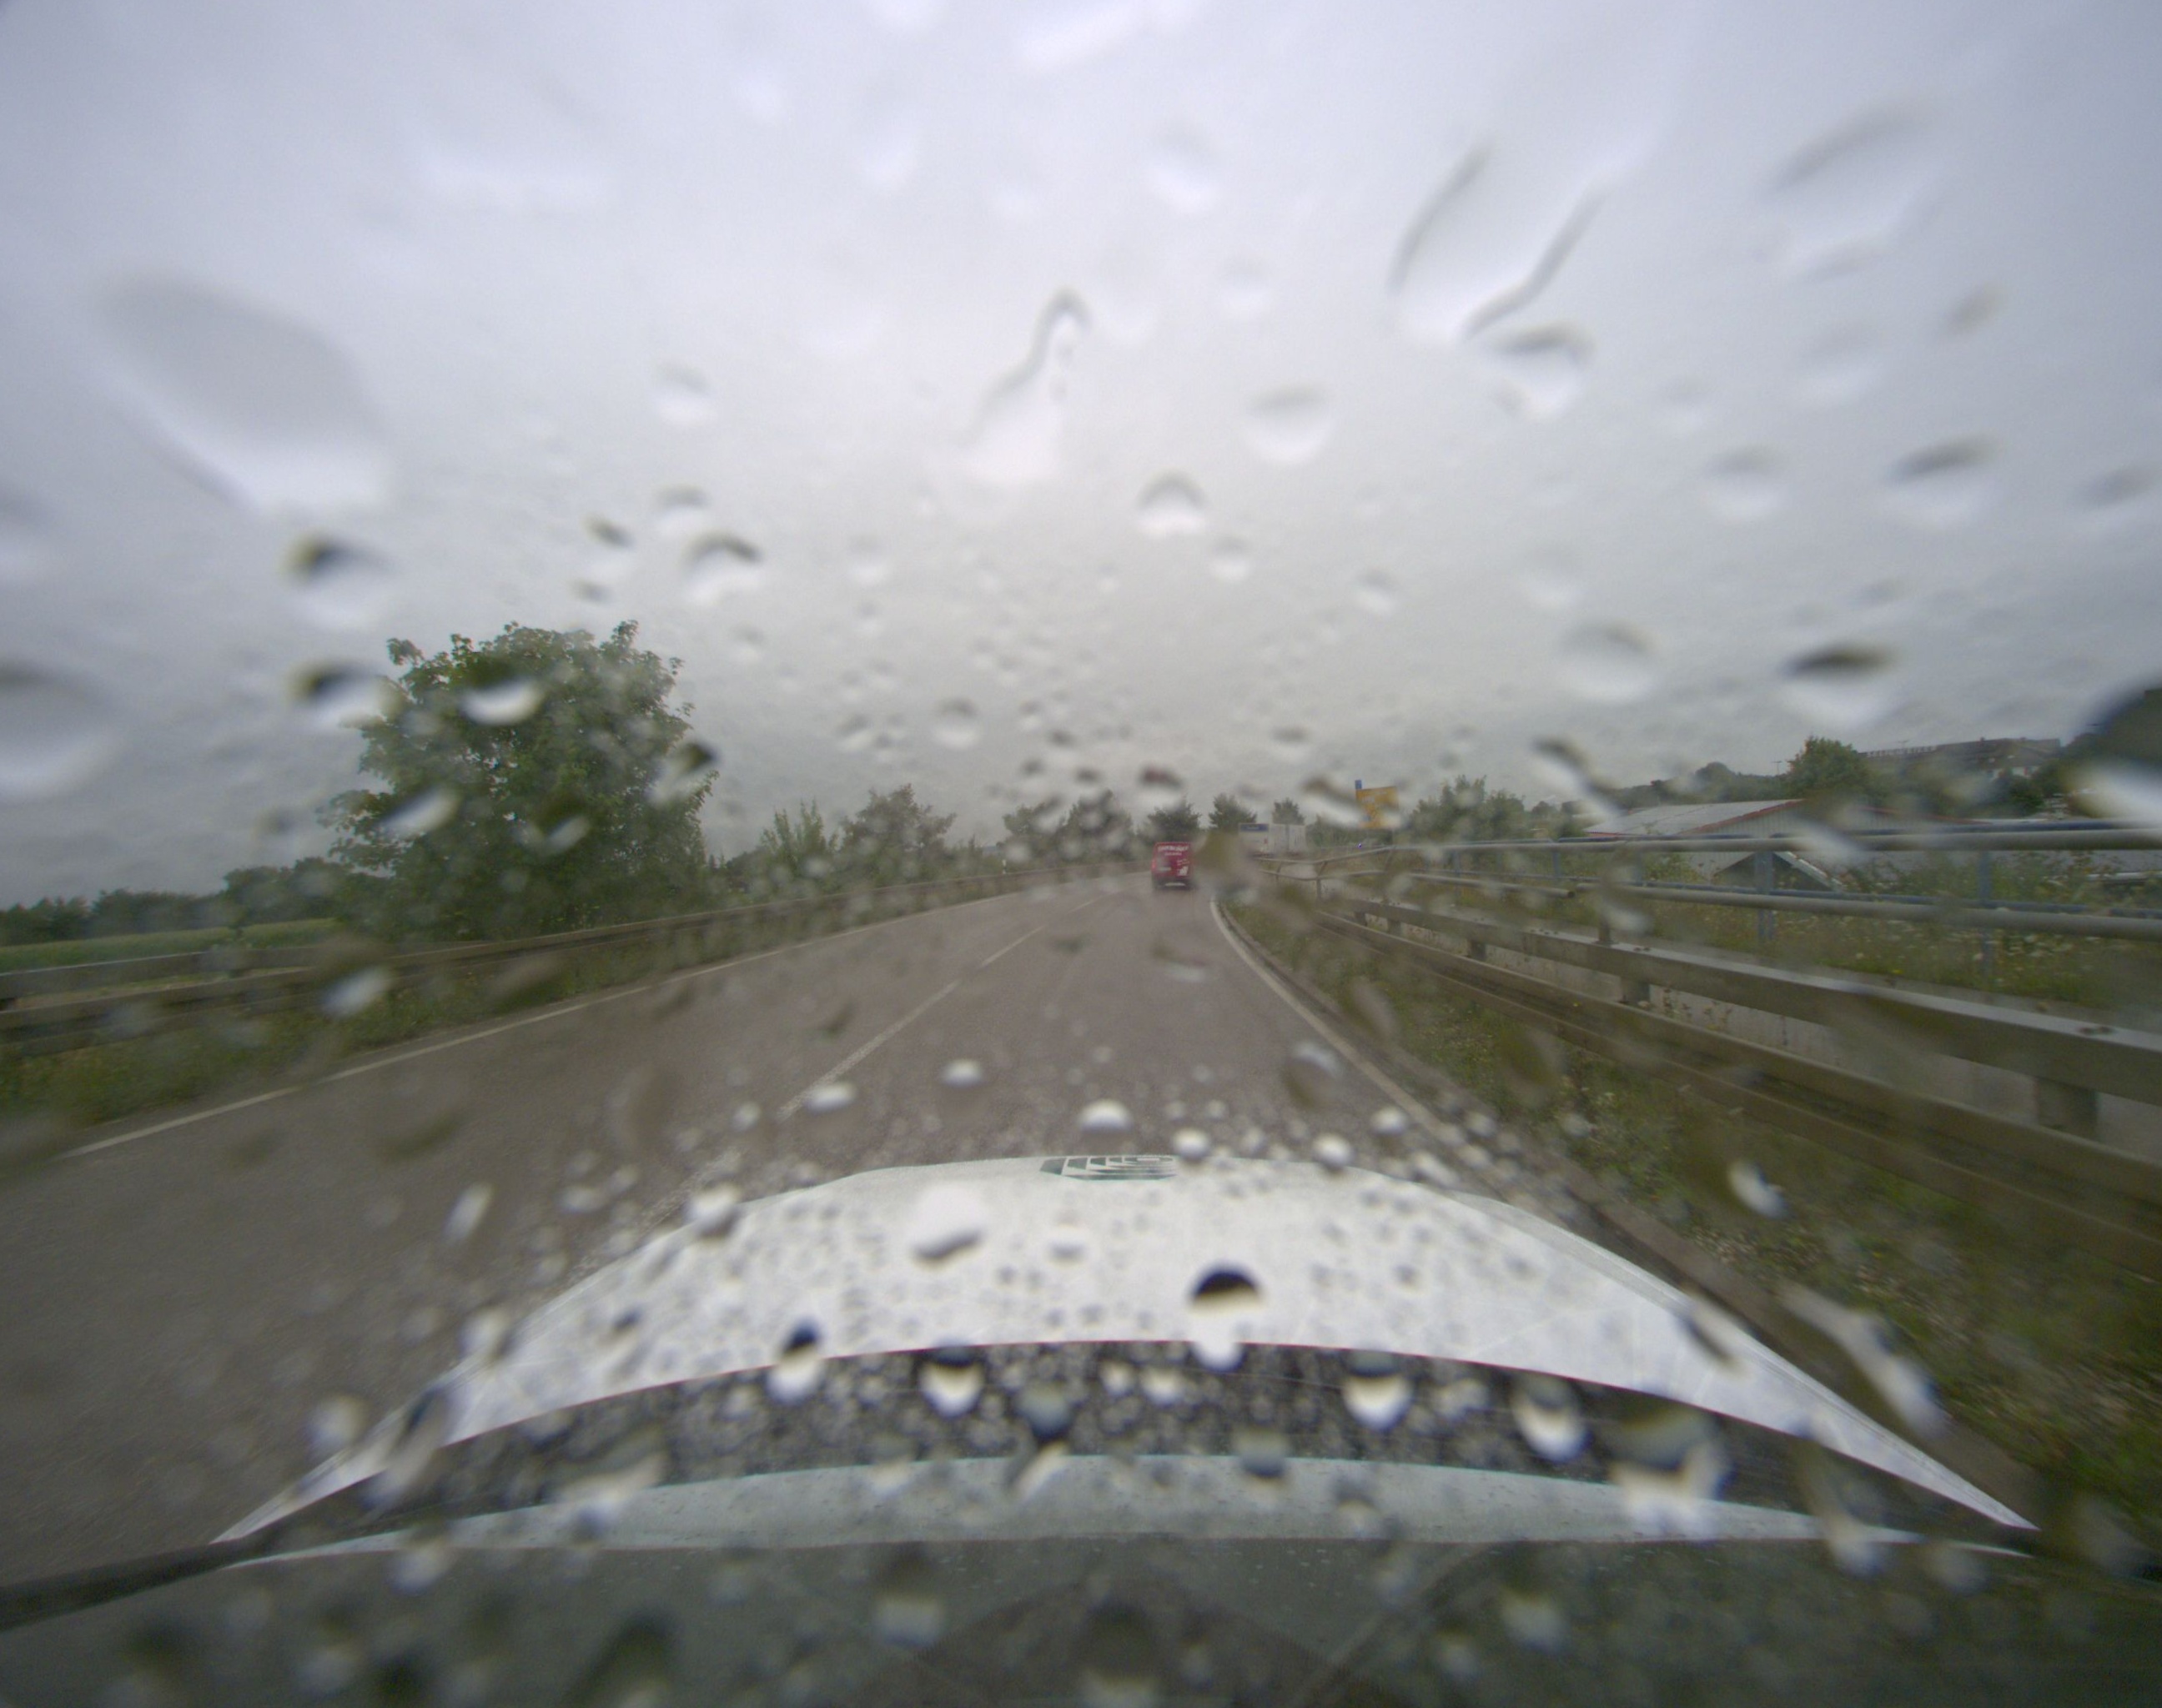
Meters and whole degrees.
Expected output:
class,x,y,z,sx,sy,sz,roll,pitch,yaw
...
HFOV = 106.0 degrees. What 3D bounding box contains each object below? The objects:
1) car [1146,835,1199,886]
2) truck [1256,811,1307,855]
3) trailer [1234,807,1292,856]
class,x,y,z,sx,sy,sz,roll,pitch,yaw
car,3.929,0.225,34.270,1.982,1.925,4.154,-2,1,9
truck,19.384,-1.958,78.377,3.173,3.921,8.789,-1,0,24
trailer,15.810,-1.865,70.361,3.173,3.921,8.789,-1,0,24
